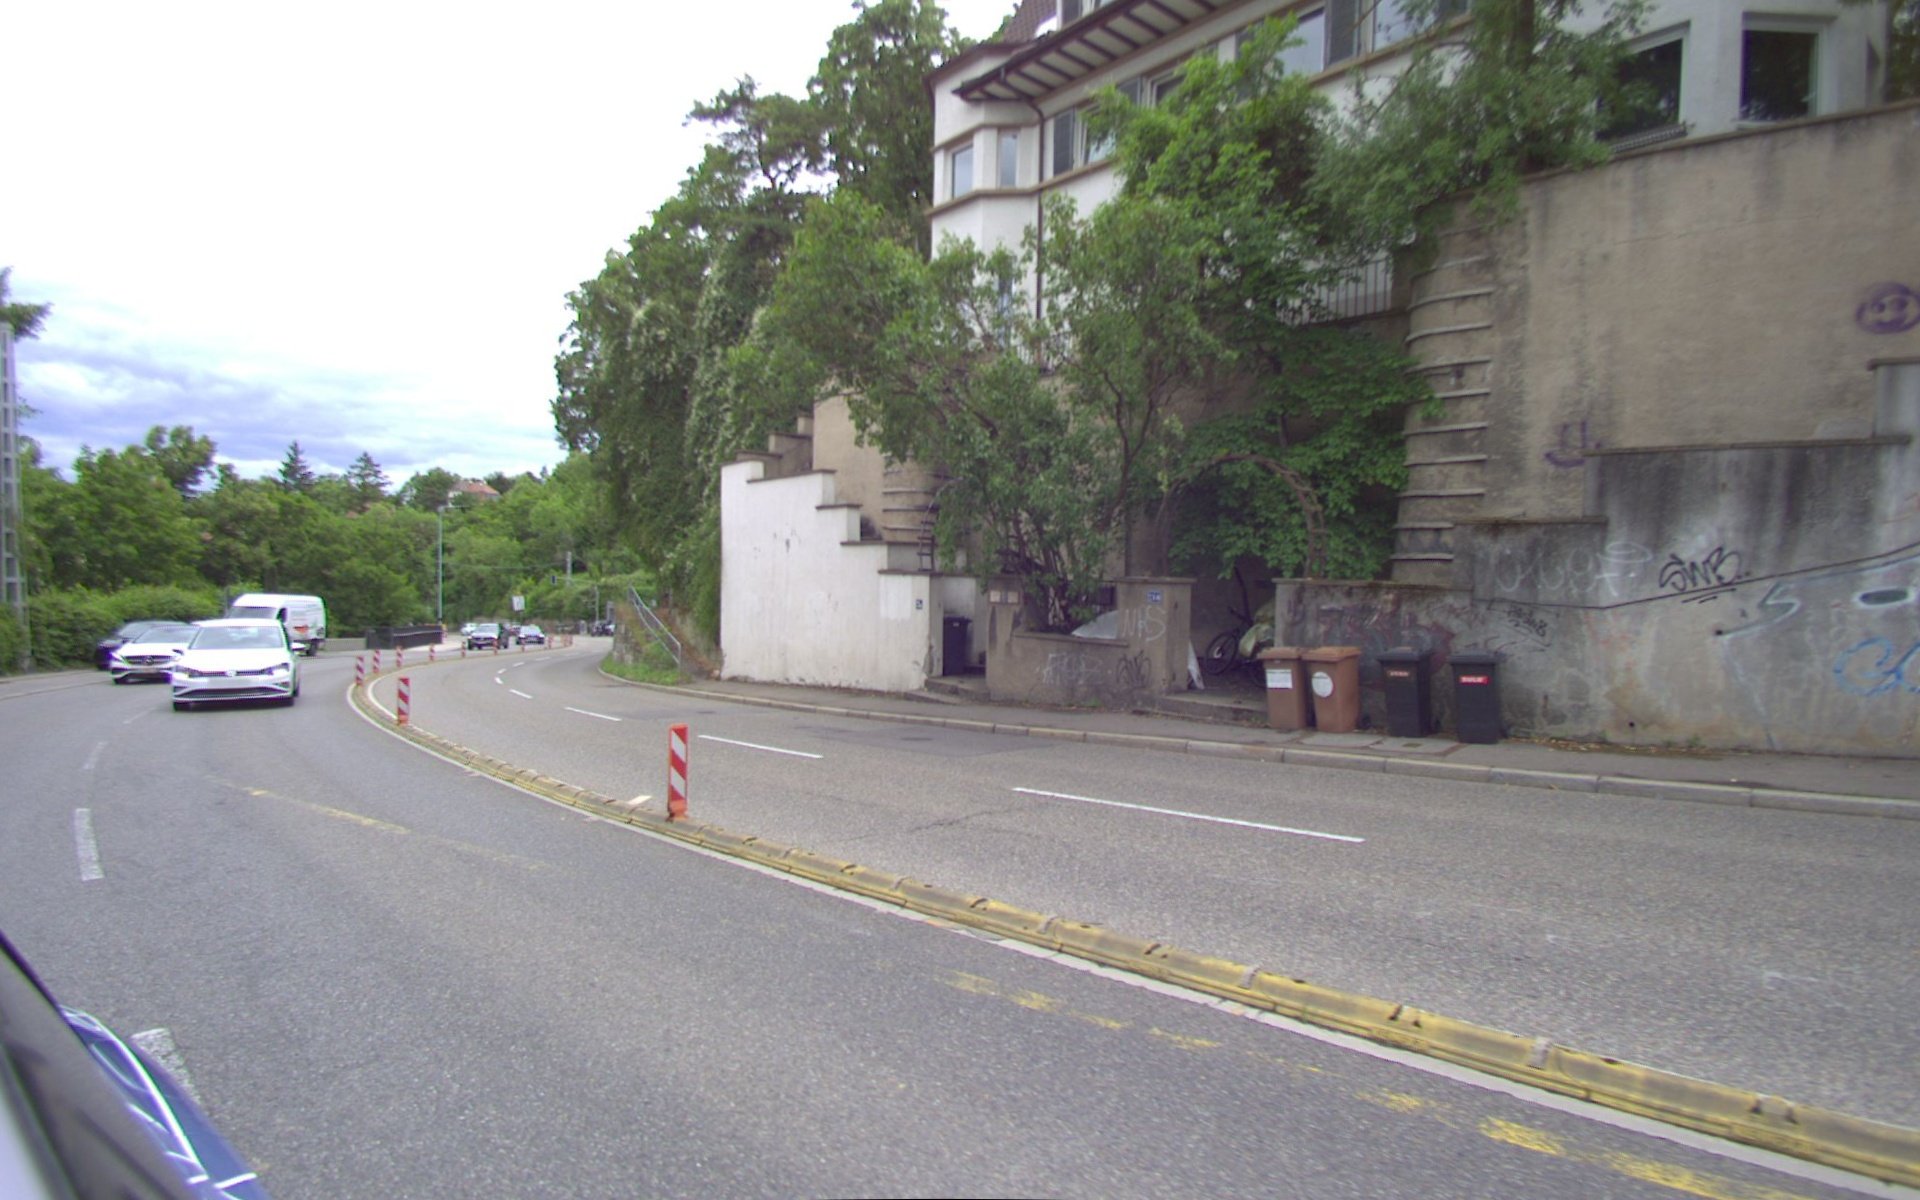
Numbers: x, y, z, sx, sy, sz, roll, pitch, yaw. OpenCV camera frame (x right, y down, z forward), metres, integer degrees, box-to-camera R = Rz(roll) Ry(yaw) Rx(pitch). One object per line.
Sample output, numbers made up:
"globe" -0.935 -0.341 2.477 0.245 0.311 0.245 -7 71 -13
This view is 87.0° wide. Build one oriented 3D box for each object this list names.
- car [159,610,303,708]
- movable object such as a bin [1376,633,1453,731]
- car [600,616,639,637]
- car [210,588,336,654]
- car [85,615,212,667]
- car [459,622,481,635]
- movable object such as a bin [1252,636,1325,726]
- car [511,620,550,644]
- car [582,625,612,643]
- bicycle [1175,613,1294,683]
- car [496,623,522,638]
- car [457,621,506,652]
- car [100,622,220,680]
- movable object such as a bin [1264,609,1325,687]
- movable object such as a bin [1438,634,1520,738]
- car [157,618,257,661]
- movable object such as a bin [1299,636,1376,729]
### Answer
"car" -13.491 1.016 18.637 1.857 1.590 4.007 2 -2 -40
"movable object such as a bin" 4.755 0.841 10.591 0.567 0.956 0.536 -2 0 44
"car" -31.474 2.451 93.511 1.835 1.744 4.770 -3 1 -39
"car" -28.921 0.899 42.886 2.057 2.542 5.856 2 -2 -10
"car" -25.140 1.248 31.544 1.676 1.475 4.678 1 -2 -20
"car" -59.905 3.531 123.751 1.689 1.477 3.667 -2 0 -38
"movable object such as a bin" 3.751 0.907 11.542 0.556 0.956 0.600 -2 0 44
"car" -33.442 2.471 78.825 1.967 1.718 4.009 -2 0 -11
"car" -34.898 3.297 97.249 1.690 1.584 2.962 -5 1 -41
"bicycle" 4.068 0.693 15.051 0.628 0.851 1.618 -7 7 -43
"car" -49.820 3.352 111.713 1.689 1.477 3.667 -2 0 -38
"car" -30.142 2.245 63.857 1.966 1.718 4.011 -2 0 -14
"car" -20.452 1.265 26.041 1.768 1.316 4.113 -1 -1 -29
"movable object such as a bin" 4.662 0.662 14.097 0.581 1.032 0.600 -2 0 44
"movable object such as a bin" 5.156 0.832 10.050 0.567 0.956 0.536 -2 0 44
"car" -27.209 1.395 36.713 1.677 1.475 3.846 1 -2 -17
"movable object such as a bin" 4.159 0.890 11.145 0.581 0.956 0.600 -2 0 44
